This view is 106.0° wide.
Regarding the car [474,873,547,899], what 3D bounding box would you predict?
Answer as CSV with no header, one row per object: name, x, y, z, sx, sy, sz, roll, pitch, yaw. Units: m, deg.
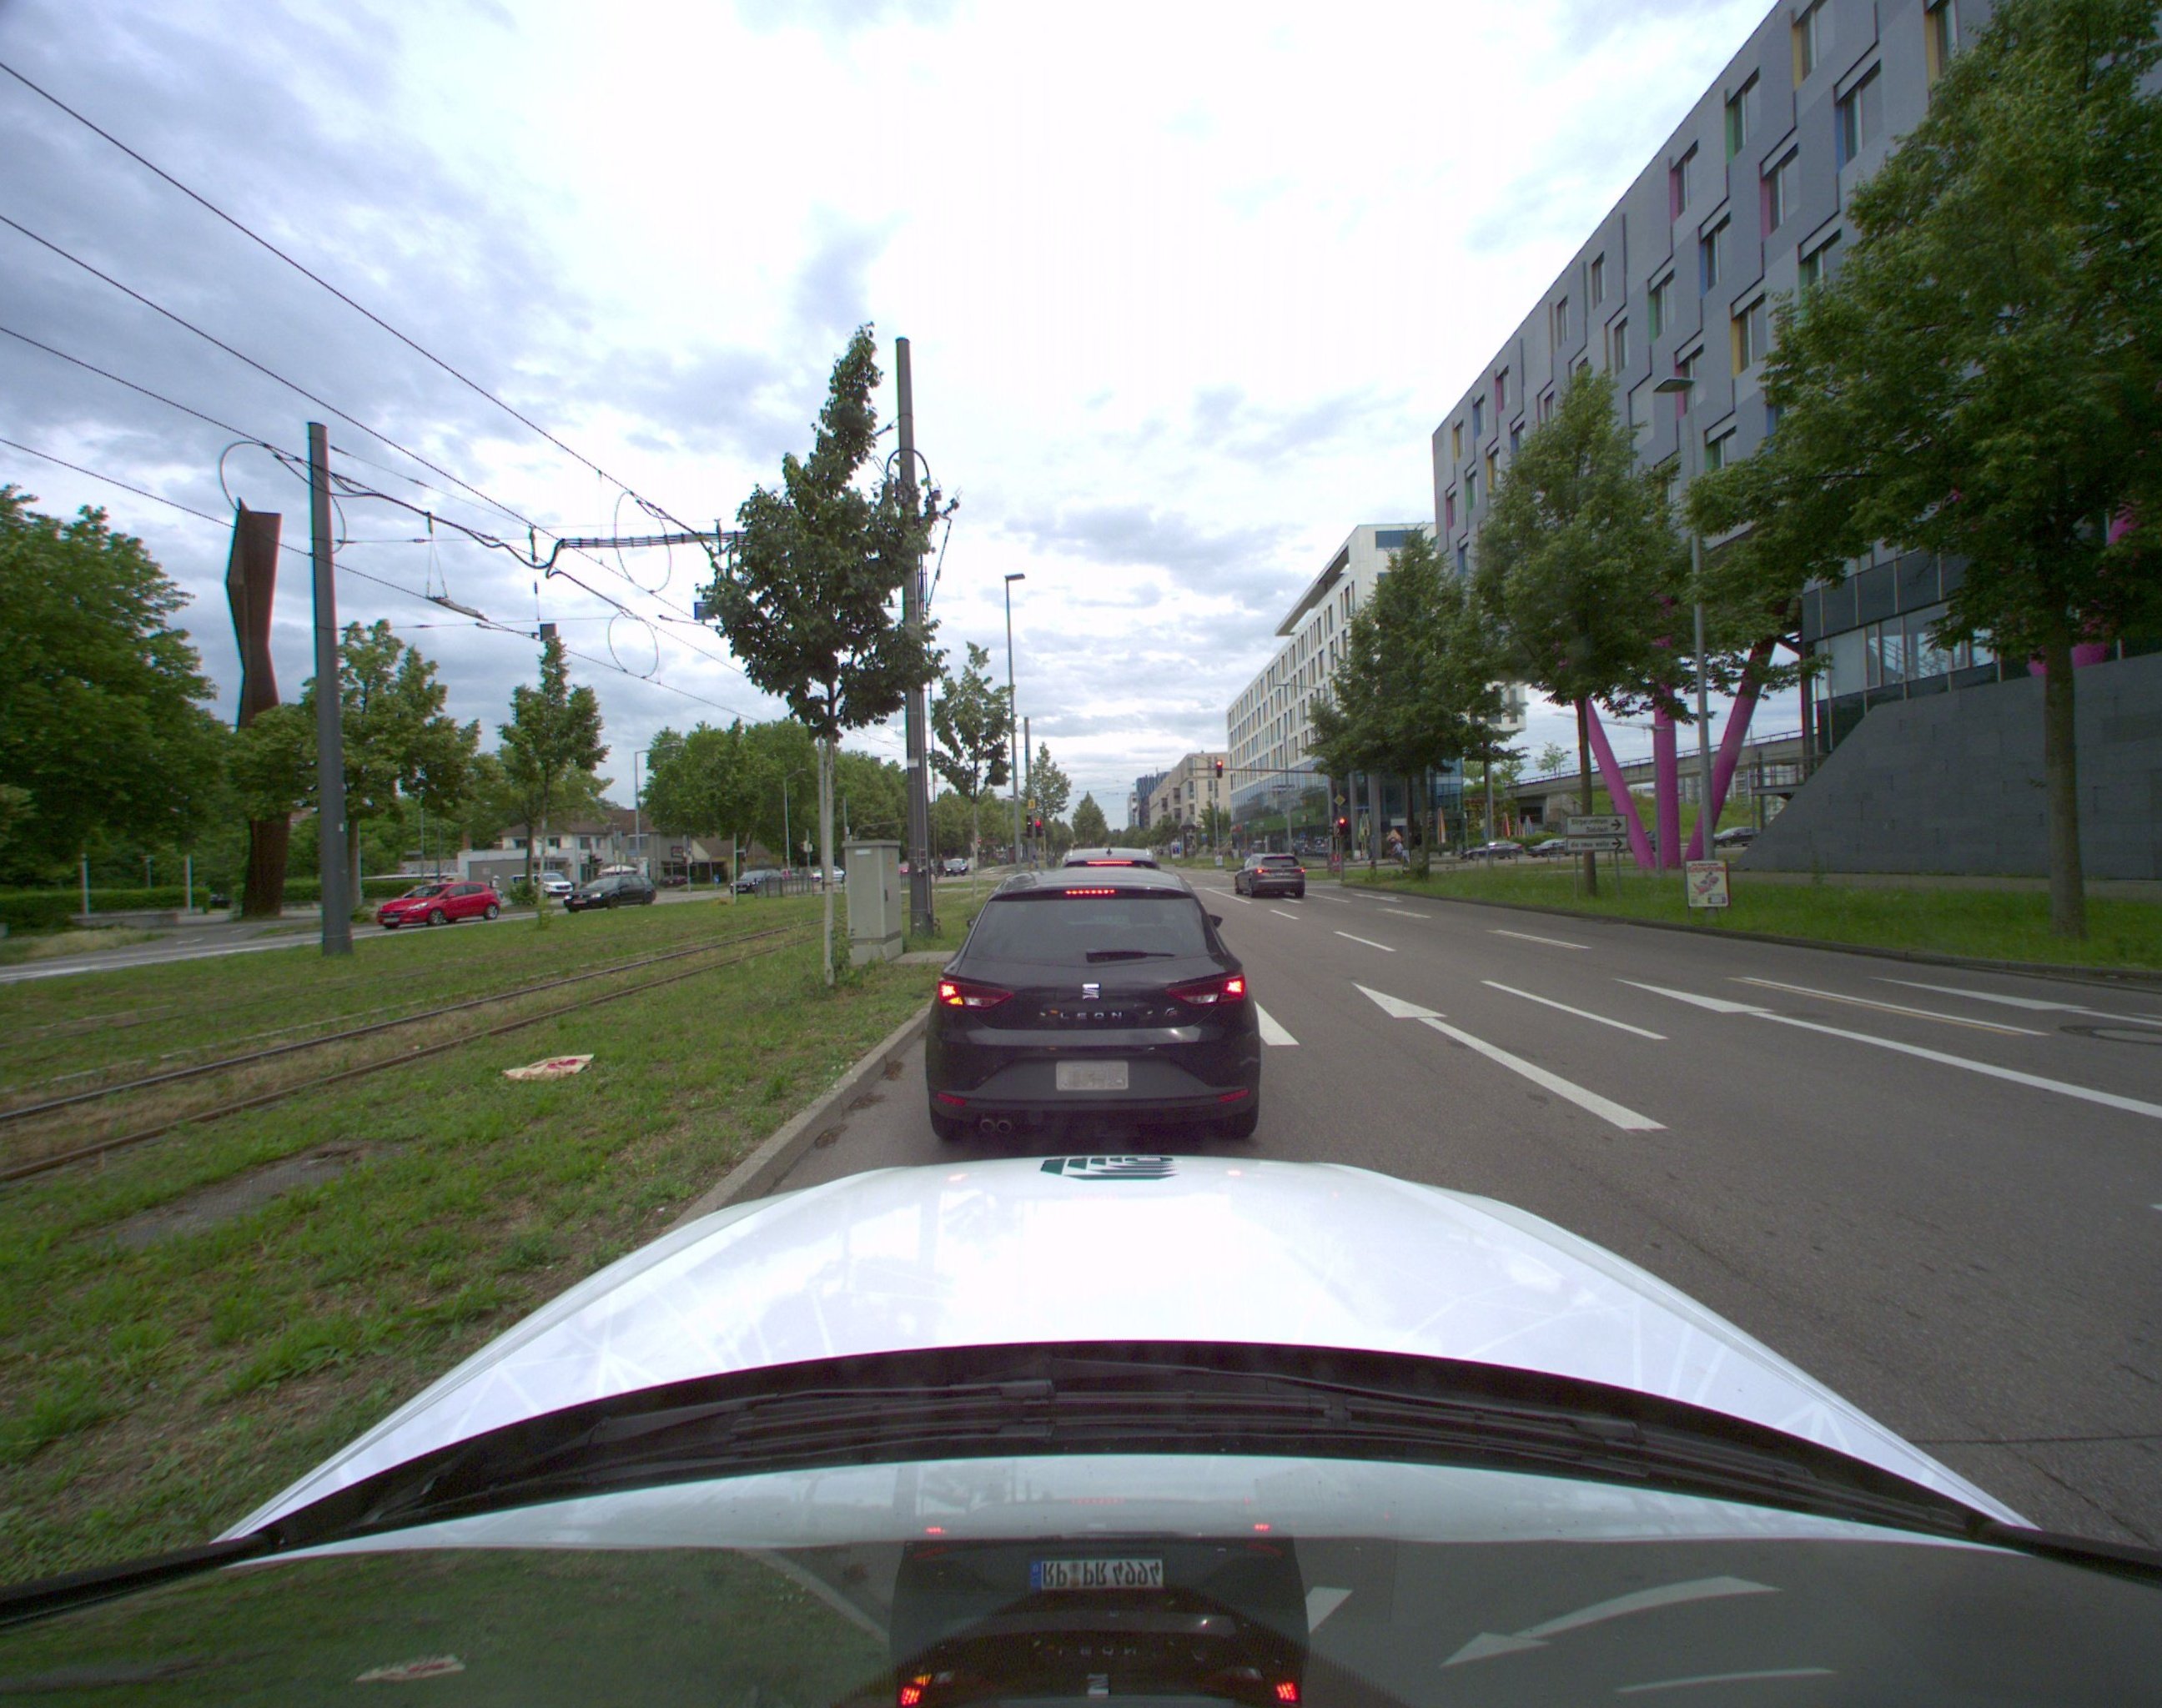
car,-44.641,2.462,63.752,4.258,1.816,2.111,-2,0,6

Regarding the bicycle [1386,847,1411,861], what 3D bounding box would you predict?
bicycle,25.673,-0.001,65.845,1.784,1.085,0.618,-2,0,3

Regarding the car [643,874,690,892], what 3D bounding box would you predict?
car,-47.141,3.337,92.707,4.258,1.816,2.111,-2,0,6

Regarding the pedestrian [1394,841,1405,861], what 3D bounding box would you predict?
pedestrian,25.738,-0.267,65.842,0.612,1.604,0.619,-2,0,4

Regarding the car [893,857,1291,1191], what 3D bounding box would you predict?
car,0.086,0.758,5.592,1.737,1.417,4.001,-1,0,1

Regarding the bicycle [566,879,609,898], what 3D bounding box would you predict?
bicycle,-35.772,2.510,59.065,2.520,1.202,0.734,-2,0,-25

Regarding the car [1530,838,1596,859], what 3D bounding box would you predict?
car,37.860,-0.418,64.041,4.063,1.455,1.759,-2,0,3

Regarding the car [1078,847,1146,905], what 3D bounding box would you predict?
car,1.079,0.640,26.195,1.984,1.682,4.005,-1,0,5

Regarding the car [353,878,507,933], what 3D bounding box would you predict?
car,-22.867,1.752,28.851,1.789,1.570,4.331,-2,0,3

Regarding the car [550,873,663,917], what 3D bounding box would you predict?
car,-19.067,1.589,33.008,1.658,1.426,4.746,-4,0,1

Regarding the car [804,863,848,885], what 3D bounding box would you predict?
car,-20.582,1.565,66.046,1.805,1.588,5.078,-2,0,1

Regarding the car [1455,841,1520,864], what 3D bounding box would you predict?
car,31.844,-0.120,63.864,4.233,1.615,1.759,-2,0,3

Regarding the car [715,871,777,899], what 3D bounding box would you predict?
car,-19.174,1.761,46.806,1.795,1.377,4.058,-2,0,1

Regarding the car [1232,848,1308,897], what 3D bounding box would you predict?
car,6.487,0.576,28.343,1.741,1.499,4.271,-2,1,2

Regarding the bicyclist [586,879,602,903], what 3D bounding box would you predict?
bicyclist,-35.395,2.695,59.240,0.854,1.721,0.715,-2,0,-25

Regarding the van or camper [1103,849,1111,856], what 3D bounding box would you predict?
van or camper,6.740,-0.292,210.341,1.986,1.615,4.792,-1,1,2

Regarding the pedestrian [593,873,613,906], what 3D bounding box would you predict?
pedestrian,-27.721,2.055,47.242,0.779,1.832,0.771,-2,0,-16

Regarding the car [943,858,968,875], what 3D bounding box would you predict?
car,-13.738,1.356,89.215,1.987,1.750,4.201,-2,0,1

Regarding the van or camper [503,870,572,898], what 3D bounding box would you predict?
van or camper,-41.621,2.309,62.326,5.212,2.013,2.481,-2,0,34

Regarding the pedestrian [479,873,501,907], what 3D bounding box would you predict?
pedestrian,-35.592,2.163,49.039,0.910,2.013,0.942,-2,0,-40

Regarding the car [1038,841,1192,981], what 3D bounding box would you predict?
car,0.476,0.680,11.814,1.796,1.624,4.002,-2,0,2

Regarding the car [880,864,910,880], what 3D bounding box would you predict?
car,-17.973,1.742,79.039,1.805,1.377,4.270,-2,0,1

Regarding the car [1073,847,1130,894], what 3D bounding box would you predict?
car,0.849,0.581,31.266,1.985,1.682,4.005,-1,0,4

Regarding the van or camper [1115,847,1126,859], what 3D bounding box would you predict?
van or camper,8.286,-0.252,171.039,2.101,2.355,4.927,-1,2,2
